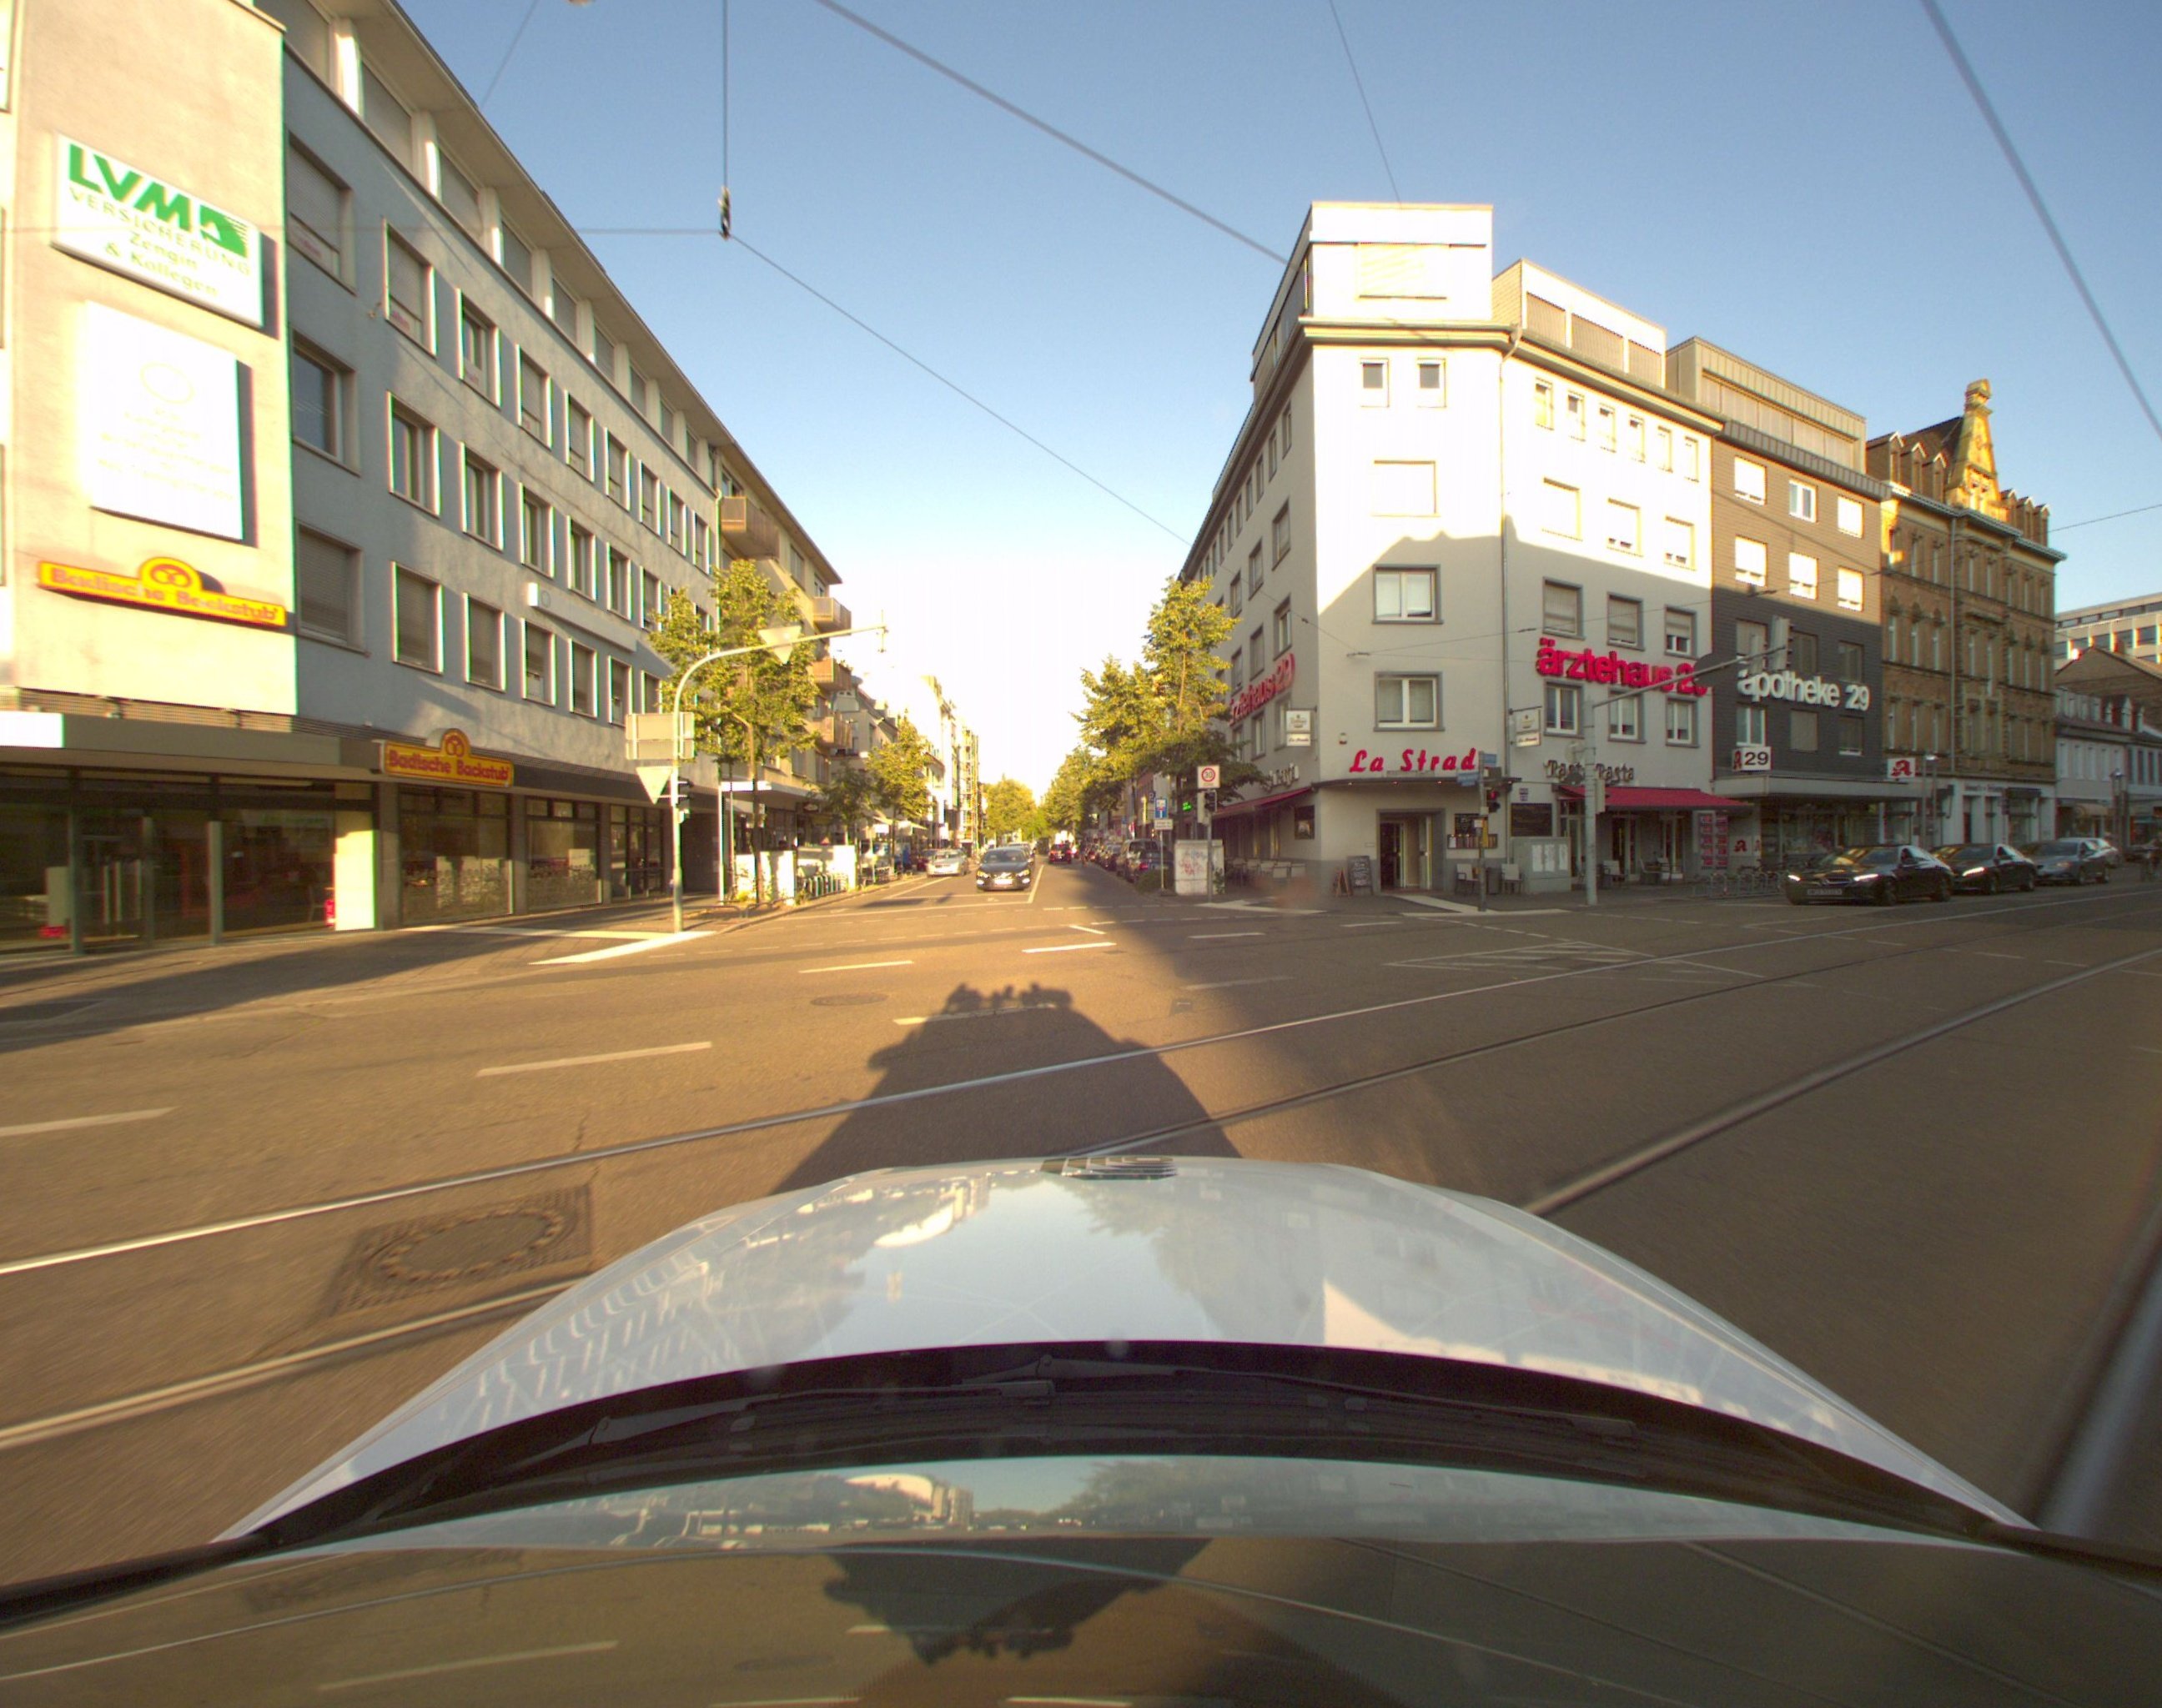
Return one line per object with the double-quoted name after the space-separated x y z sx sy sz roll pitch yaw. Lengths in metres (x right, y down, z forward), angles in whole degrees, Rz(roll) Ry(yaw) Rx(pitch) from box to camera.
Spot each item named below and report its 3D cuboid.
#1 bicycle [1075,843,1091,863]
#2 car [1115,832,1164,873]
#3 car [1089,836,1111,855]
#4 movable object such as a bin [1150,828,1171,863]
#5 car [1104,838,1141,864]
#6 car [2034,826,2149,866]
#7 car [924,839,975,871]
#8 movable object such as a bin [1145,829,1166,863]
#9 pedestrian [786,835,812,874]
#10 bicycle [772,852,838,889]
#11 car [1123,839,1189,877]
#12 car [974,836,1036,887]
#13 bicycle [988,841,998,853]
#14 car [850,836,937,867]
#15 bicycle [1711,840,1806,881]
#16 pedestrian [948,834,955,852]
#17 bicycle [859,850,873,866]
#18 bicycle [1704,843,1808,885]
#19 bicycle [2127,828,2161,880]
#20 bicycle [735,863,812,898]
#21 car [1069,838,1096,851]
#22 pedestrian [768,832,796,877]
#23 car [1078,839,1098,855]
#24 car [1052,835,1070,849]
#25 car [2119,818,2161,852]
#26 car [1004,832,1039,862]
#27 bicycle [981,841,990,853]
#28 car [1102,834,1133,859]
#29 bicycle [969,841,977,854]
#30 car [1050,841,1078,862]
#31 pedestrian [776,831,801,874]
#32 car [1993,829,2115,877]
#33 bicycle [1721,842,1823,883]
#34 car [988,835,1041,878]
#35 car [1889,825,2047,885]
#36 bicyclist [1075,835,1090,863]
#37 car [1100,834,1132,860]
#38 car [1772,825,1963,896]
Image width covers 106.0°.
0.116 -0.063 50.702 0.779 1.204 2.018 -2 0 -4 "bicycle"
2.685 -0.114 37.896 1.652 1.778 4.005 0 1 -5 "car"
1.707 -0.786 74.722 1.807 1.667 4.203 0 0 -2 "car"
4.073 -0.418 41.843 0.834 1.774 1.203 0 0 -6 "movable object such as a bin"
2.351 -0.196 47.371 1.749 1.420 4.505 0 1 -3 "car"
45.345 -0.333 36.537 4.988 1.705 1.977 0 0 -23 "car"
-6.888 0.028 43.162 1.988 1.511 4.506 -4 0 -2 "car"
3.943 -0.427 43.136 0.834 1.774 1.351 0 0 -6 "movable object such as a bin"
-12.102 0.009 34.950 0.760 1.676 0.748 0 1 40 "pedestrian"
-9.172 0.539 27.094 2.004 1.218 0.491 0 0 -3 "bicycle"
2.805 0.112 31.372 1.933 1.376 4.177 0 1 -4 "car"
-2.590 0.185 28.453 1.954 1.547 4.504 -1 2 -4 "car"
-9.957 -0.788 92.132 0.893 1.395 3.155 -1 0 -10 "bicycle"
-11.348 -0.158 49.394 4.886 1.827 1.985 0 0 -24 "car"
21.801 0.180 26.250 0.658 1.192 2.273 -3 3 -31 "bicycle"
-12.810 -1.064 80.517 0.717 1.767 0.692 0 0 -10 "pedestrian"
-13.480 0.218 51.118 0.489 0.992 2.013 0 0 -4 "bicycle"
19.914 0.281 24.093 0.657 1.193 2.273 0 0 -30 "bicycle"
35.733 -0.027 27.215 3.070 1.632 0.853 -2 1 -40 "bicycle"
-8.891 0.760 23.592 2.007 0.992 0.490 0 0 -7 "bicycle"
0.189 -1.077 94.017 2.965 1.536 1.430 0 0 -7 "car"
-12.482 0.023 33.991 0.763 1.847 0.745 -1 2 7 "pedestrian"
0.742 -0.746 87.922 1.822 1.695 4.361 0 0 -5 "car"
-2.985 -1.767 121.044 2.262 1.766 4.501 5 0 -5 "car"
56.065 -0.950 42.091 4.992 1.705 1.975 0 0 -26 "car"
-3.545 -0.426 48.759 1.936 1.645 4.733 -2 0 -3 "car"
-10.809 -0.776 91.952 0.781 1.373 3.131 0 0 -10 "bicycle"
2.352 -0.485 53.336 1.806 1.527 4.993 0 0 0 "car"
-12.149 -0.725 91.664 0.721 1.395 3.142 0 0 -10 "bicycle"
-1.287 -0.212 64.830 1.986 1.601 4.512 0 0 2 "car"
-12.794 -0.068 35.601 0.738 1.818 0.813 -1 1 0 "pedestrian"
30.865 -0.033 25.830 3.689 1.420 1.753 0 0 -28 "car"
20.973 0.241 24.780 0.658 1.193 2.273 0 0 -31 "bicycle"
-2.786 0.091 34.895 1.941 1.645 4.612 -2 0 -2 "car"
25.111 -0.020 23.038 4.409 1.523 1.982 -1 1 -28 "car"
0.075 -0.324 50.609 0.779 1.696 1.006 -2 0 -5 "bicyclist"
2.491 -0.506 59.539 1.879 1.754 5.053 0 0 -3 "car"
18.826 0.118 19.464 4.491 1.469 1.964 -2 0 -28 "car"
